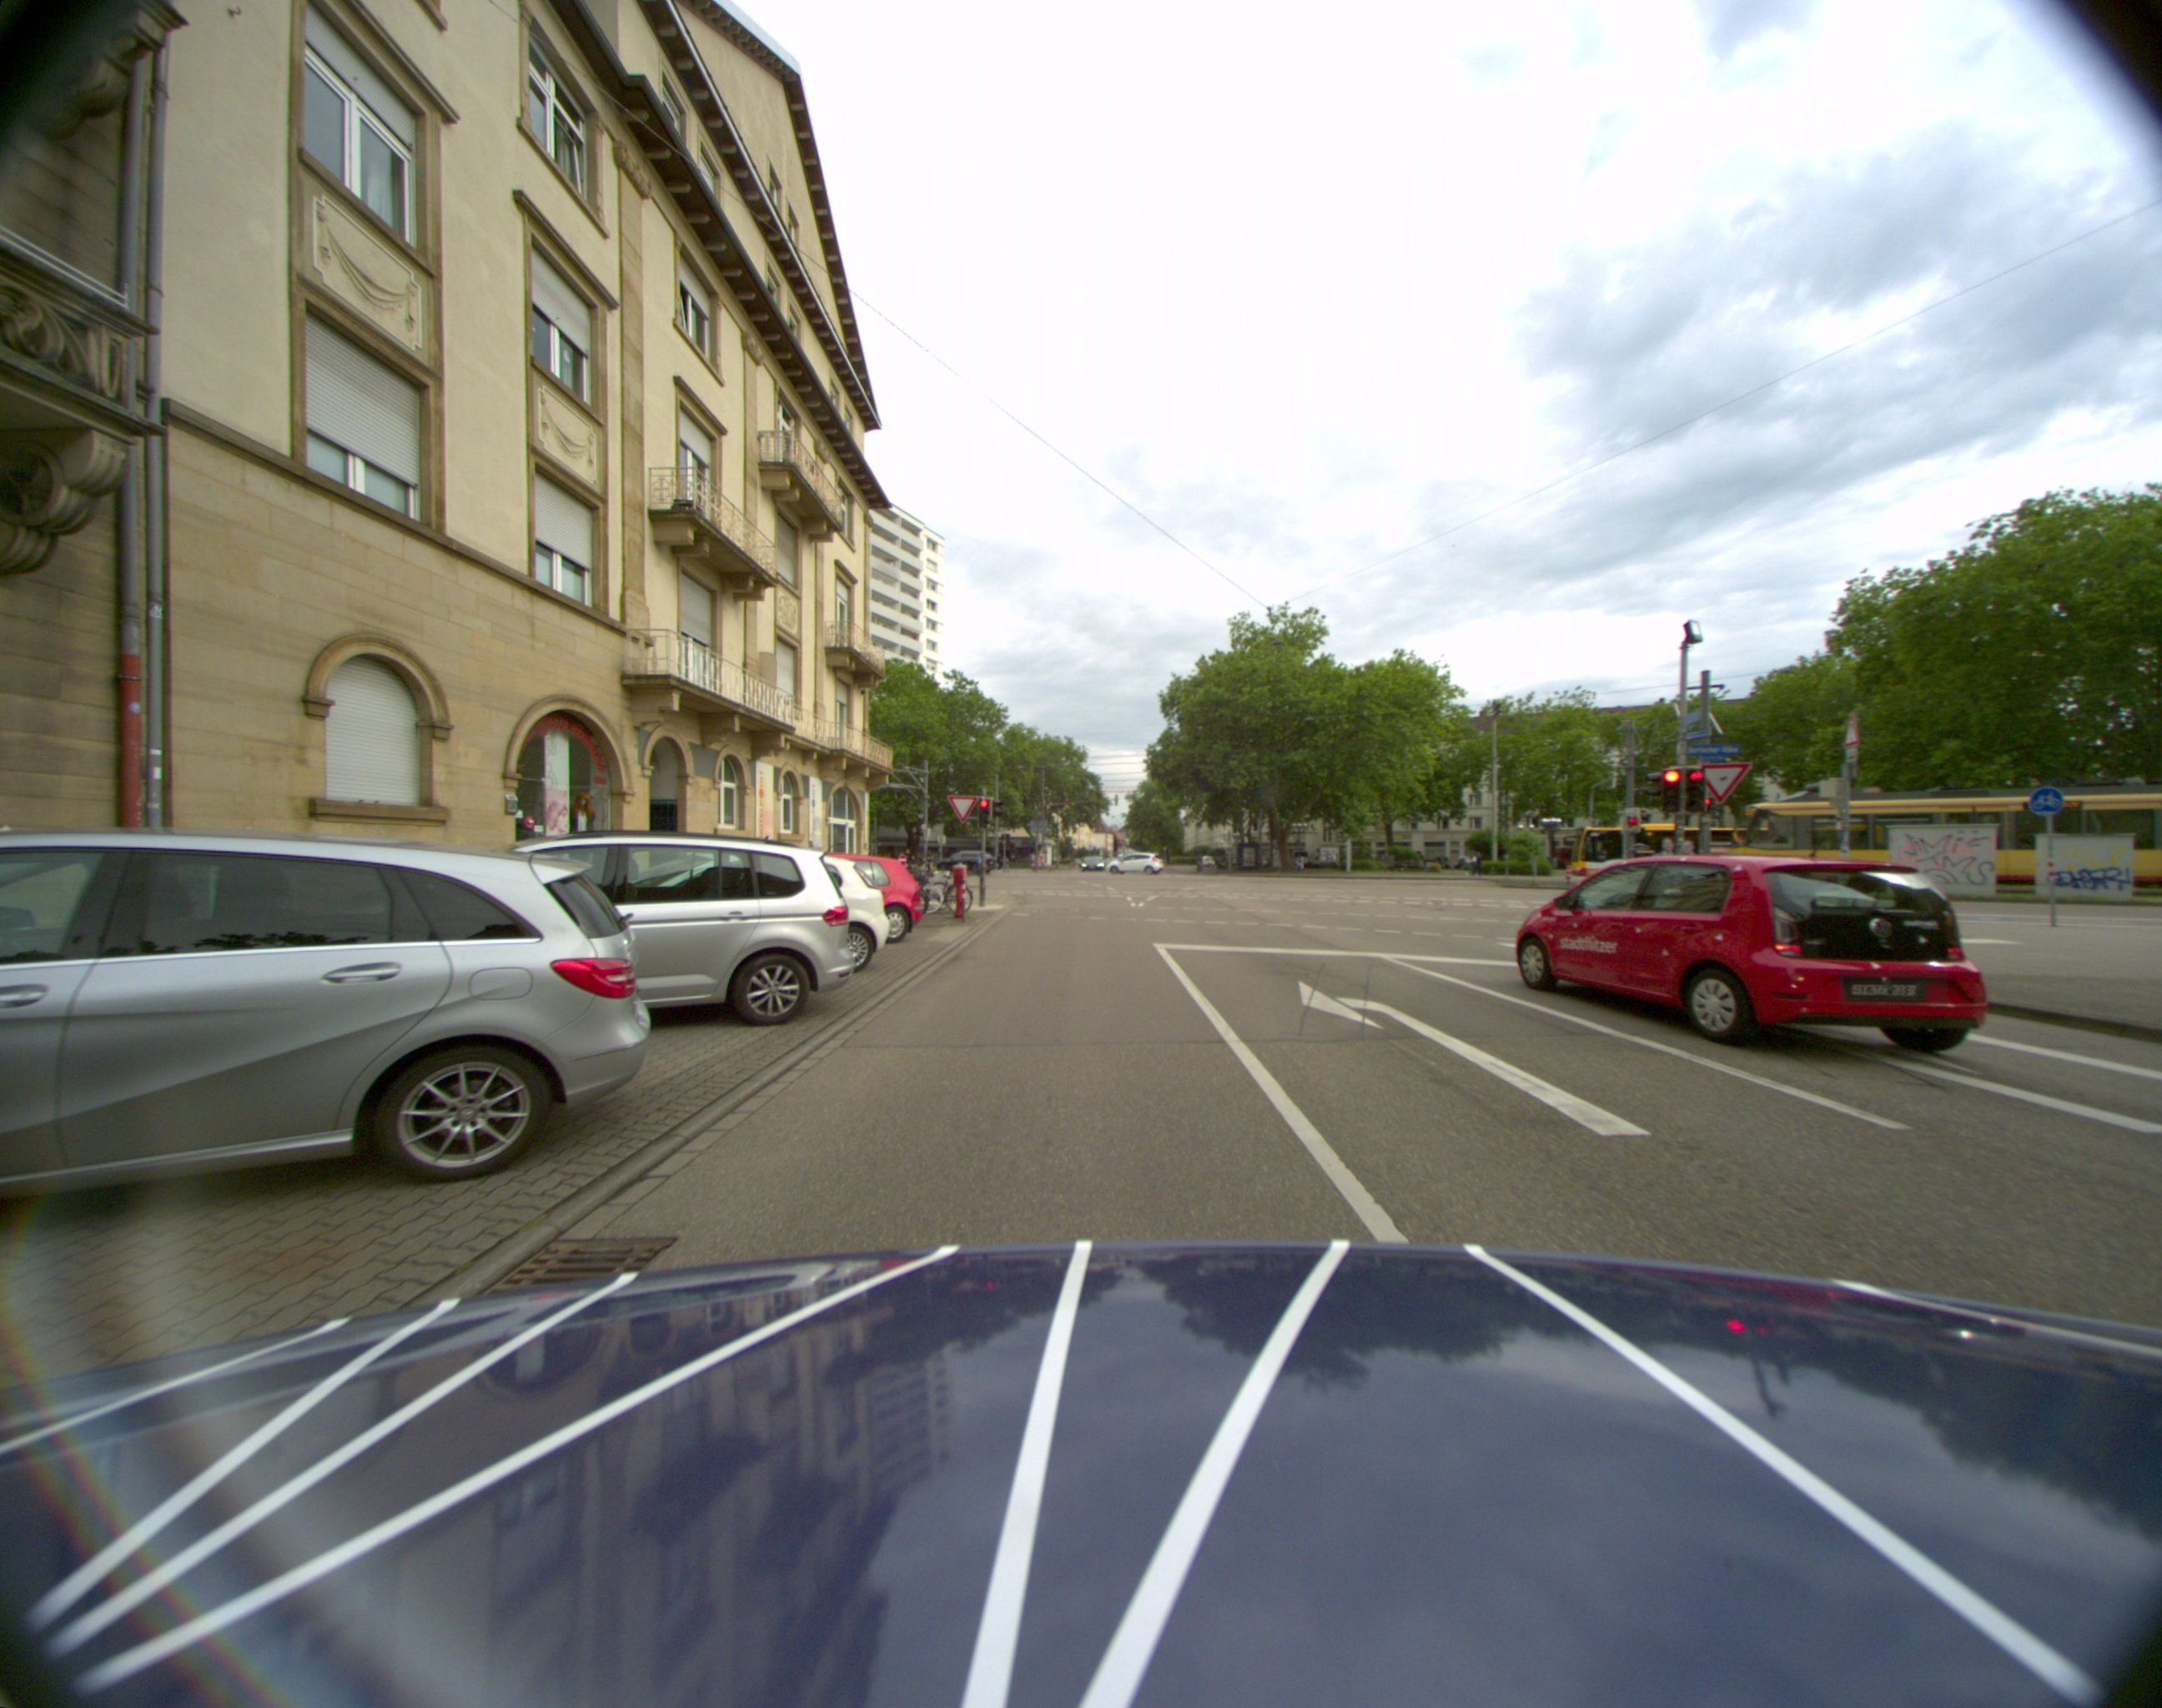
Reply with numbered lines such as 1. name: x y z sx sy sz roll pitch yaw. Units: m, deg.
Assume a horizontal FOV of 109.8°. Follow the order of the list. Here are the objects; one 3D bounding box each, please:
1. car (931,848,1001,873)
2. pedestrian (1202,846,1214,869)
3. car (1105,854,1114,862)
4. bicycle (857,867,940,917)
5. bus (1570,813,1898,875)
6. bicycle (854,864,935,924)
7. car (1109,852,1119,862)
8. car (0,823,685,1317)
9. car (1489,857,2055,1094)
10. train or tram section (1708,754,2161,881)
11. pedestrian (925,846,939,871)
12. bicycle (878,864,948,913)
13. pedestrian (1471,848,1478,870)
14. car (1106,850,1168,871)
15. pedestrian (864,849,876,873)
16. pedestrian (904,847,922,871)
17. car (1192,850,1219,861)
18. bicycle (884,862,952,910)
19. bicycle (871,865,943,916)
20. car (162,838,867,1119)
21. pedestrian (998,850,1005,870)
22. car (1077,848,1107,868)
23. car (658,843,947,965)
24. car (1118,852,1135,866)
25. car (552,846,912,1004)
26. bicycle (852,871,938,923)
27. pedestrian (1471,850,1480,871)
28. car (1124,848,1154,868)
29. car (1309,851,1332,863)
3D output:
1. car: -8.691 0.514 57.502 5.136 1.773 1.710 0 2 26
2. pedestrian: 10.718 0.269 64.289 0.690 1.876 0.687 -2 2 -33
3. car: 6.986 0.941 184.128 1.998 1.790 4.001 -1 2 6
4. bicycle: -4.156 0.851 17.321 1.737 1.033 0.476 2 2 0
5. bus: 32.664 -0.487 39.091 12.348 2.840 3.297 0 2 26
6. bicycle: -3.957 0.839 16.157 1.571 1.166 0.476 2 2 0
7. car: 7.088 0.556 164.341 1.998 2.002 3.999 -1 2 3
8. car: -4.483 0.717 3.196 4.762 1.675 1.931 1 1 -35
9. car: 5.576 0.811 6.938 1.653 1.519 3.894 1 0 1
10. train or tram section: 32.672 -1.207 27.440 14.999 4.070 3.660 0 2 27
11. pedestrian: -10.620 0.342 54.162 0.626 1.740 0.657 0 2 28
12. bicycle: -4.132 0.847 18.709 1.571 1.121 0.476 2 2 0
13. pedestrian: 26.090 0.345 50.373 0.373 1.470 0.362 0 1 19
14. car: 3.859 0.459 52.535 3.880 1.390 1.710 0 2 26
15. pedestrian: -15.491 0.543 55.798 0.547 1.741 0.623 0 2 26
16. pedestrian: -11.826 0.329 53.479 0.876 1.686 0.744 0 2 26
17. car: 17.901 0.237 109.449 1.804 1.477 3.992 -1 1 -24
18. bicycle: -4.105 0.791 19.209 1.571 1.121 0.476 2 2 0
19. bicycle: -4.152 0.876 18.195 1.571 1.121 0.476 2 2 0
20. car: -4.229 0.753 6.496 4.232 1.673 1.911 1 1 -33
21. pedestrian: -6.607 0.500 62.869 0.524 1.603 0.526 -1 2 -6
22. car: 1.040 0.411 70.530 1.660 1.708 3.746 -1 -2 19
23. car: -4.286 0.726 12.064 1.789 1.552 3.843 4 1 45
24. car: 5.877 0.626 98.722 1.998 1.654 4.833 -1 0 2
25. car: -4.160 0.744 9.289 3.596 1.500 1.843 2 1 -40
26. bicycle: -4.078 0.946 16.675 1.737 1.033 0.476 2 2 0
27. pedestrian: 25.913 0.427 49.960 0.469 1.318 0.457 0 1 19
28. car: 5.360 0.381 69.806 1.908 1.708 3.746 -1 -2 19
29. car: 28.865 0.382 91.803 1.997 1.381 4.835 0 0 9
